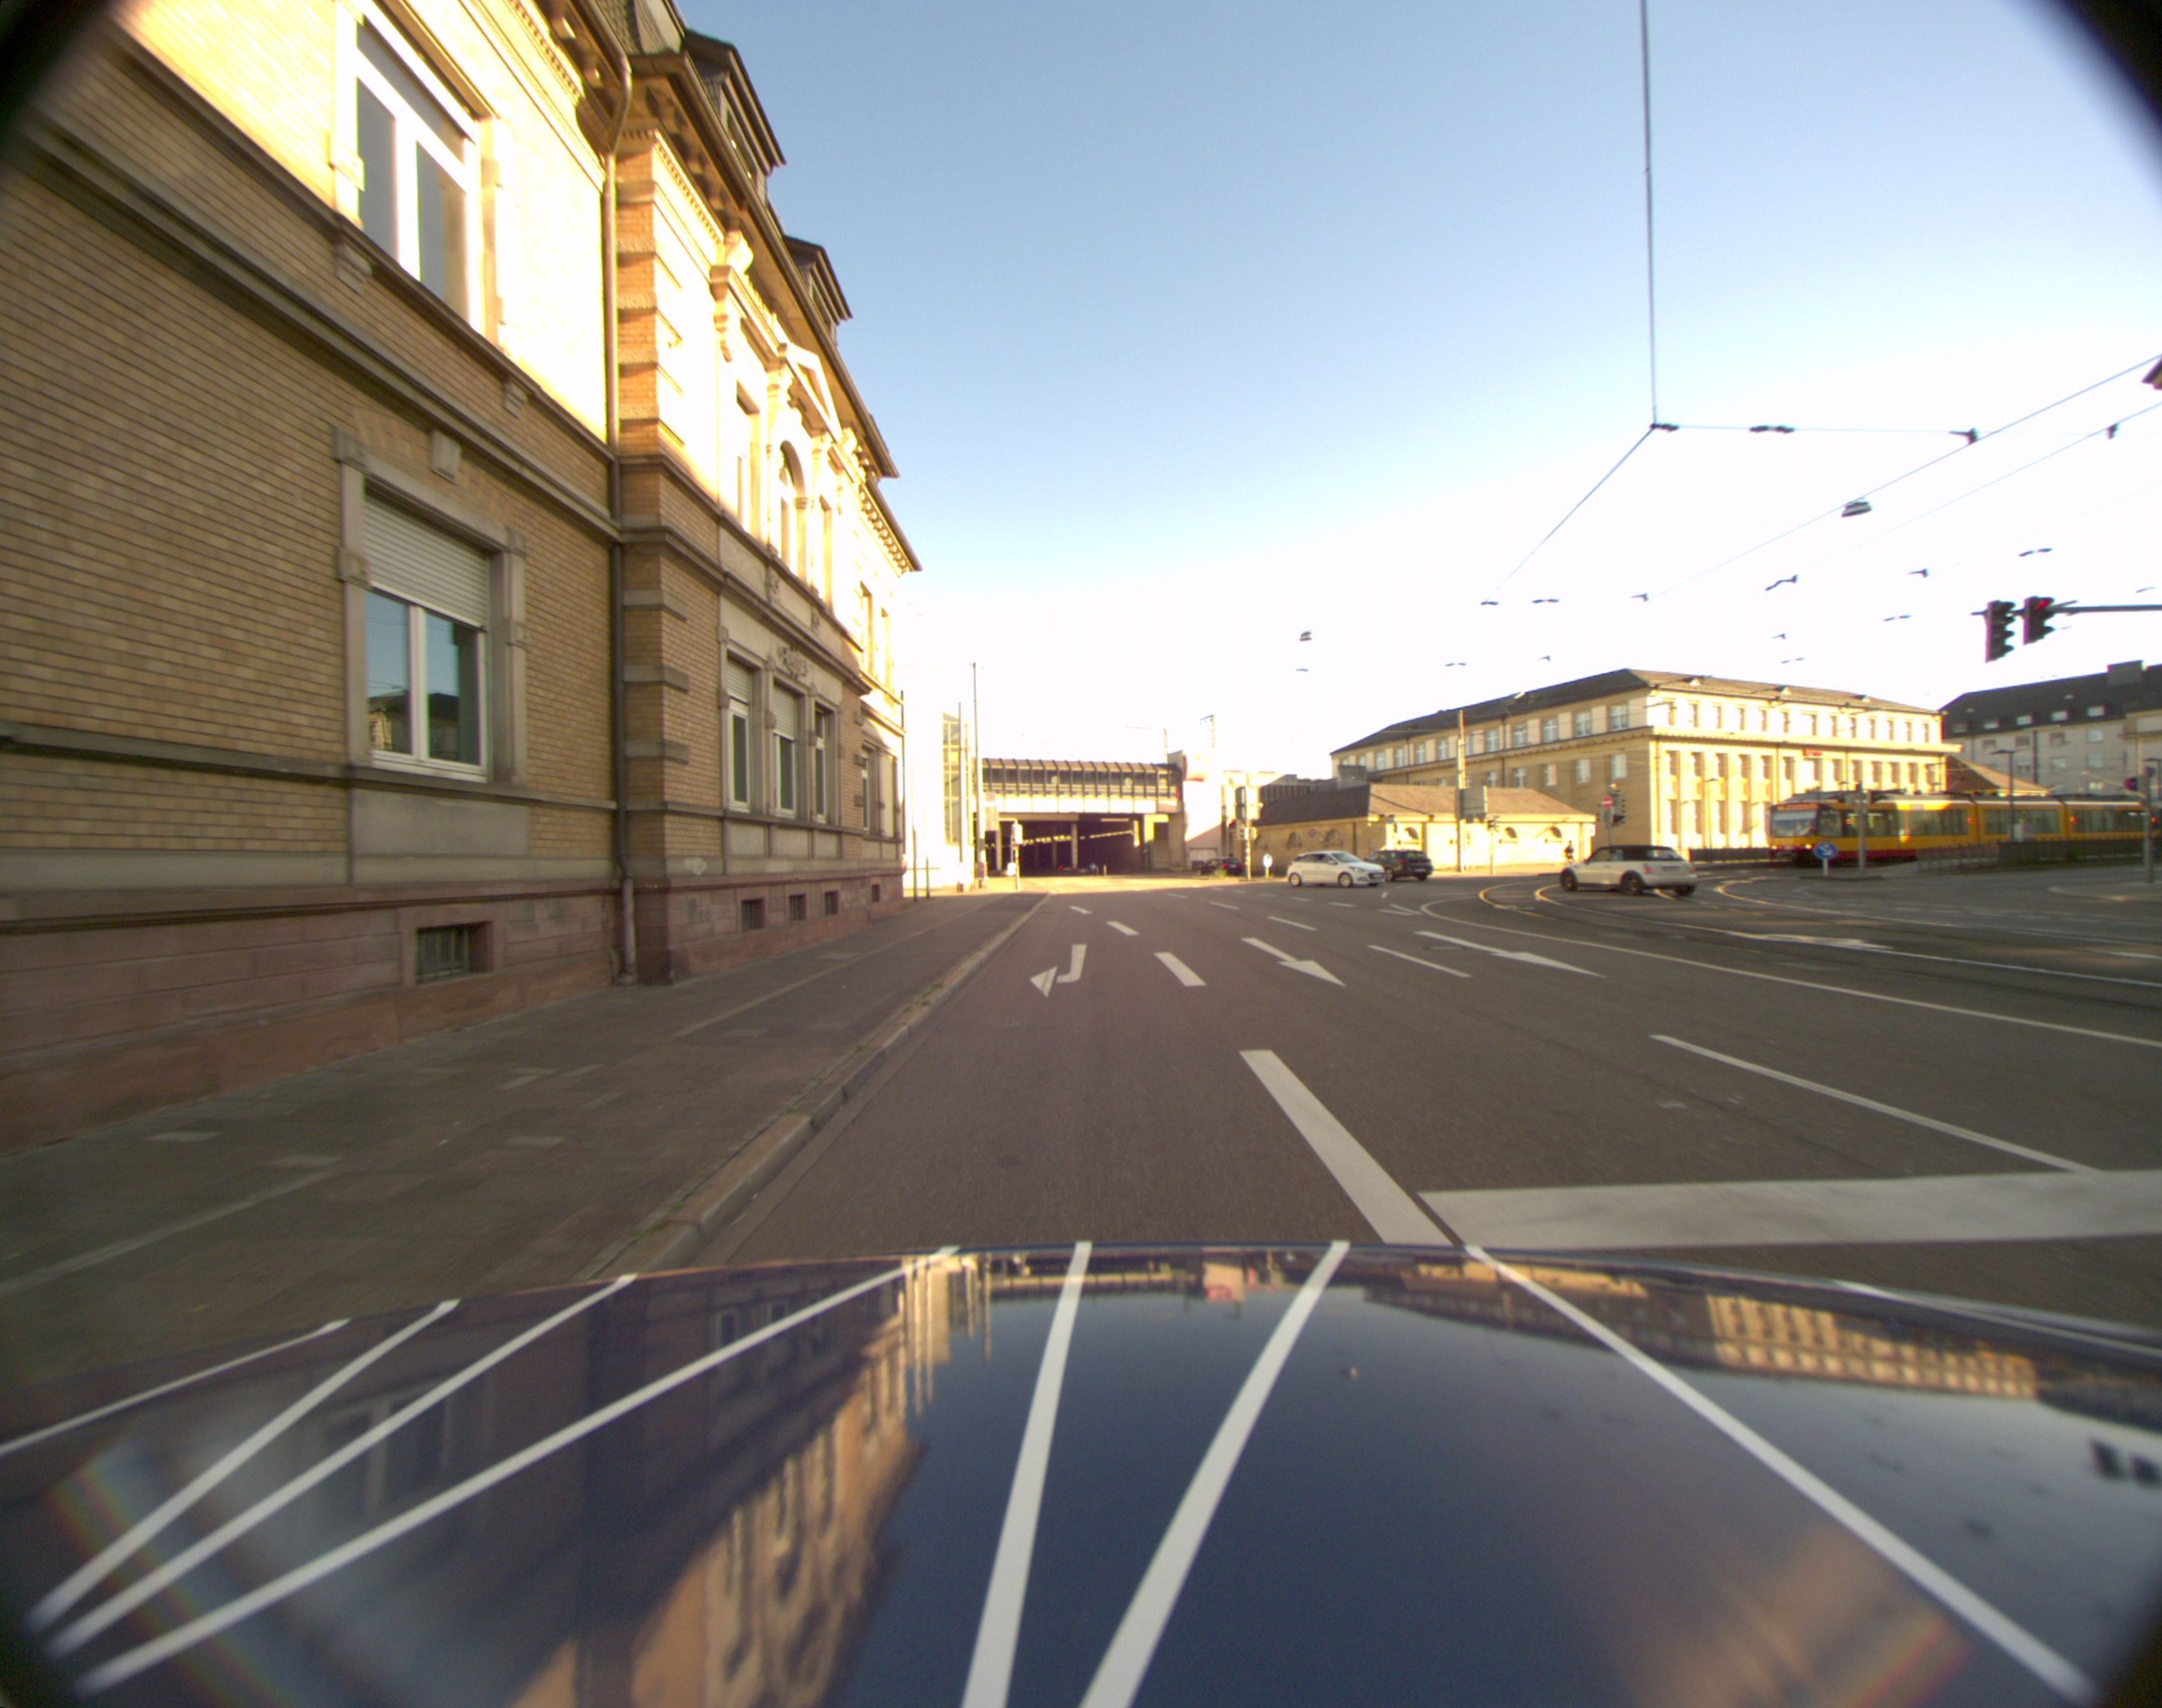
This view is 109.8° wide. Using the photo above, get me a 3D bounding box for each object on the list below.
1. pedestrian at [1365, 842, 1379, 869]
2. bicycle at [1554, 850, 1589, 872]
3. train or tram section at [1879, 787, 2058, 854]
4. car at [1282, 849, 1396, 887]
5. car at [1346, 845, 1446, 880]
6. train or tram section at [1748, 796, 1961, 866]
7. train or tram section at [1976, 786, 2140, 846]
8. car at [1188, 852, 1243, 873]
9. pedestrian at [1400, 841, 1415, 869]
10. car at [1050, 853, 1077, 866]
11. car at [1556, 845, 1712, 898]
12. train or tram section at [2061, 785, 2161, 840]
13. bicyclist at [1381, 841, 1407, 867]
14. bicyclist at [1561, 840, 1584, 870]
[{"bbox_3d":[17.752,0.095,46.375,0.624,1.630,0.516,-1,1,43],"label":"pedestrian"},{"bbox_3d":[28.077,0.401,43.445,2.076,1.129,0.684,-3,1,-26],"label":"bicycle"},{"bbox_3d":[50.547,-1.924,43.240,10.690,3.337,3.160,-3,1,-21],"label":"train or tram section"},{"bbox_3d":[10.232,0.550,30.445,1.795,1.385,4.095,-2,0,-31],"label":"car"},{"bbox_3d":[14.240,0.348,34.631,1.929,1.447,4.493,-1,0,-13],"label":"car"},{"bbox_3d":[40.102,-1.231,39.298,11.829,3.301,3.162,-2,0,-21],"label":"train or tram section"},{"bbox_3d":[60.567,-2.362,47.044,10.859,3.337,3.160,-3,1,-21],"label":"train or tram section"},{"bbox_3d":[9.750,0.621,55.394,2.002,1.384,4.554,-2,0,-19],"label":"car"},{"bbox_3d":[19.061,0.070,44.375,0.624,1.630,0.490,-1,1,43],"label":"pedestrian"},{"bbox_3d":[-2.067,0.585,87.674,1.831,1.417,4.320,-2,0,-20],"label":"car"},{"bbox_3d":[15.748,0.463,21.879,1.731,1.367,3.532,-1,0,-5],"label":"car"},{"bbox_3d":[70.739,-2.808,50.929,10.859,3.337,3.160,-3,1,-21],"label":"train or tram section"},{"bbox_3d":[17.202,0.002,41.822,0.936,1.374,1.148,-2,0,0],"label":"bicyclist"},{"bbox_3d":[28.103,0.063,43.460,0.941,1.630,0.676,-3,1,-26],"label":"bicyclist"}]
